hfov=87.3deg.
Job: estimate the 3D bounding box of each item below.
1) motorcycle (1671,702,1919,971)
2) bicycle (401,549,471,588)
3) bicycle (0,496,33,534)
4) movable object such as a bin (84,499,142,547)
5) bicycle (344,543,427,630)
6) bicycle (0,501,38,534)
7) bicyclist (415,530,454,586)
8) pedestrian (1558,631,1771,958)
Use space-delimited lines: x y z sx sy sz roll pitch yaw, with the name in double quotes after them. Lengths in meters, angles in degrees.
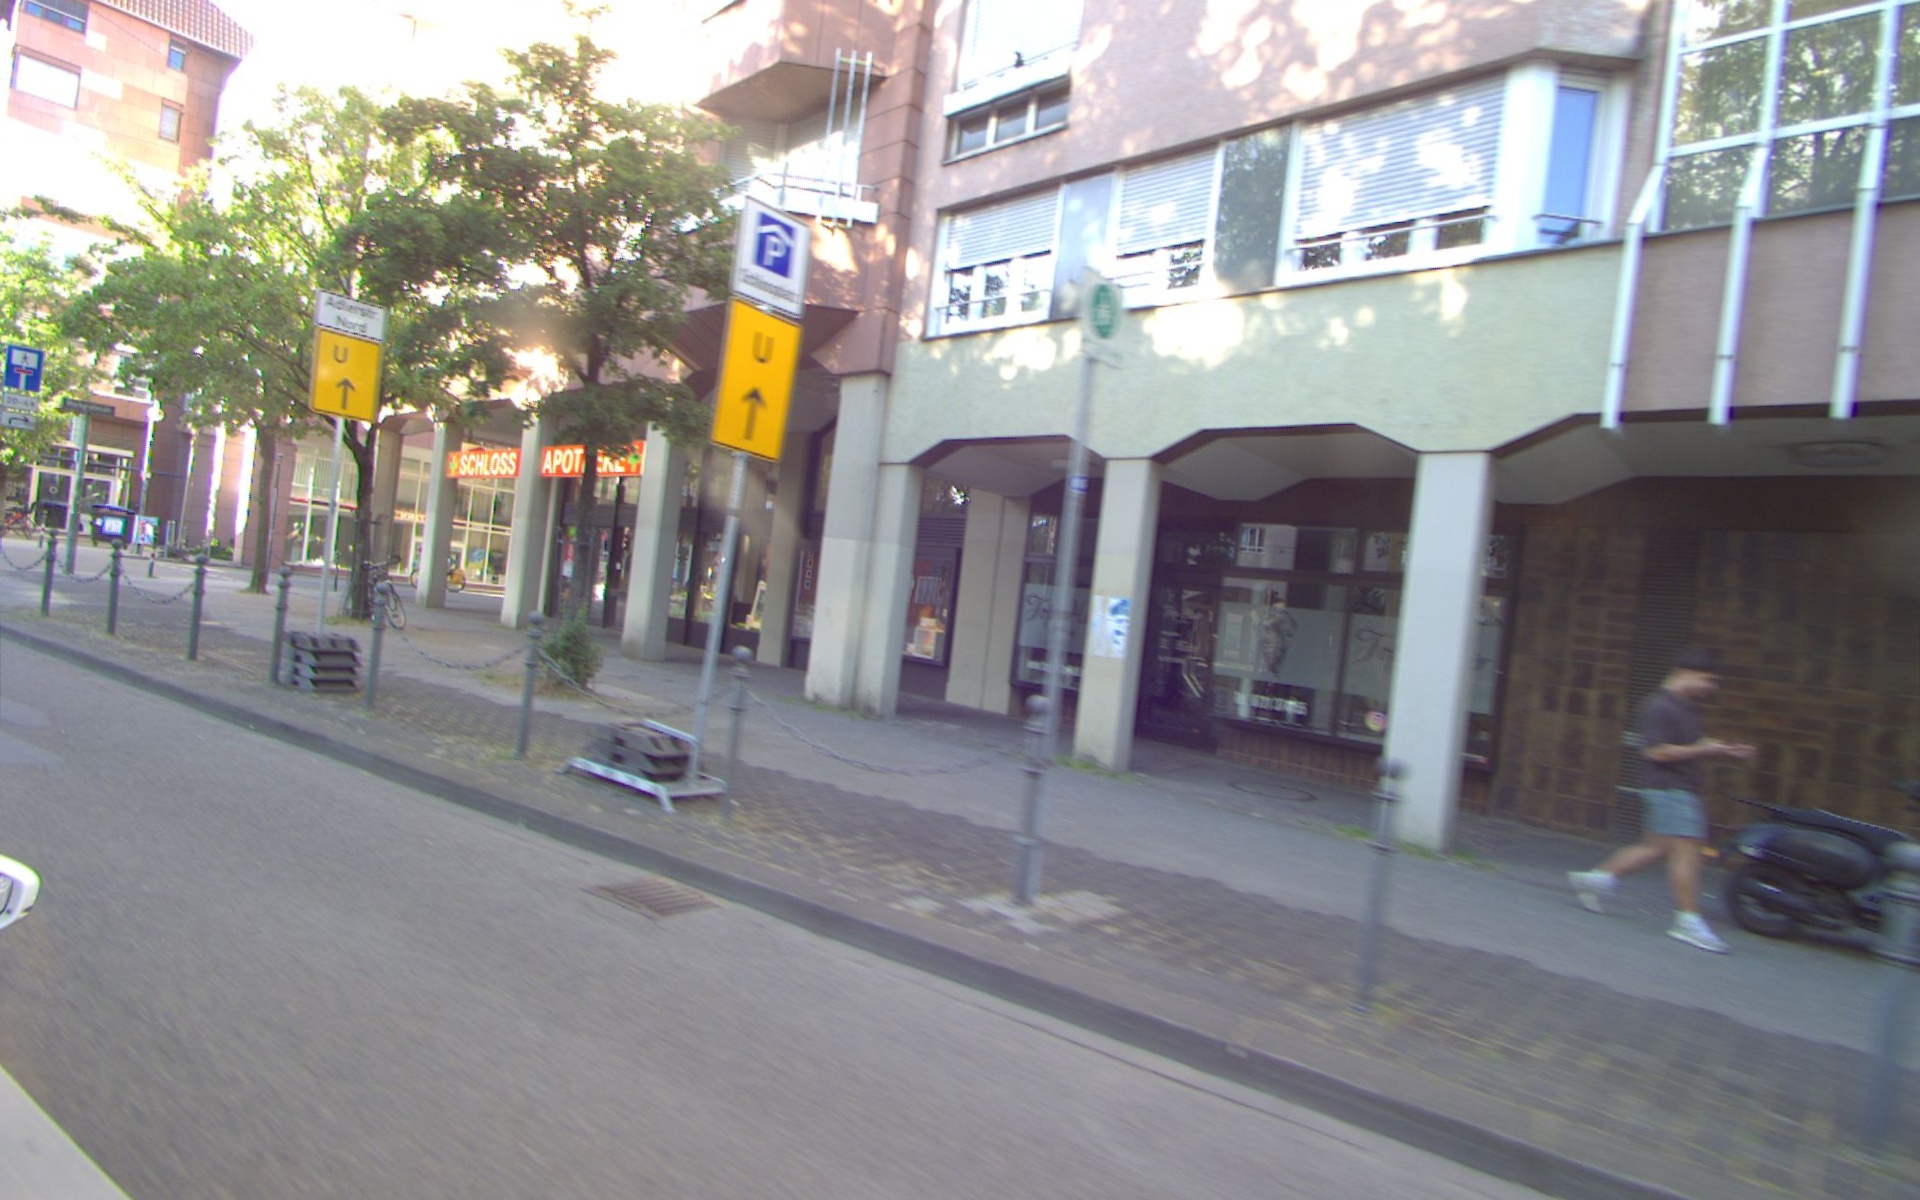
5.690 1.477 6.129 2.056 1.389 0.488 7 1 33 "motorcycle"
-18.076 -1.078 34.755 0.792 1.126 1.912 7 0 40 "bicycle"
-33.785 -3.043 35.397 0.569 1.242 1.566 7 0 38 "bicycle"
-30.395 -2.771 36.107 0.860 1.500 1.407 7 0 44 "movable object such as a bin"
-9.500 -0.247 16.604 0.620 1.241 1.902 6 1 -45 "bicycle"
-35.878 -3.145 37.729 1.733 1.066 0.733 7 0 -31 "bicycle"
-18.116 -1.441 34.679 0.777 1.792 0.824 7 1 41 "bicyclist"
4.353 1.138 6.214 0.825 1.760 0.780 7 1 41 "pedestrian"
